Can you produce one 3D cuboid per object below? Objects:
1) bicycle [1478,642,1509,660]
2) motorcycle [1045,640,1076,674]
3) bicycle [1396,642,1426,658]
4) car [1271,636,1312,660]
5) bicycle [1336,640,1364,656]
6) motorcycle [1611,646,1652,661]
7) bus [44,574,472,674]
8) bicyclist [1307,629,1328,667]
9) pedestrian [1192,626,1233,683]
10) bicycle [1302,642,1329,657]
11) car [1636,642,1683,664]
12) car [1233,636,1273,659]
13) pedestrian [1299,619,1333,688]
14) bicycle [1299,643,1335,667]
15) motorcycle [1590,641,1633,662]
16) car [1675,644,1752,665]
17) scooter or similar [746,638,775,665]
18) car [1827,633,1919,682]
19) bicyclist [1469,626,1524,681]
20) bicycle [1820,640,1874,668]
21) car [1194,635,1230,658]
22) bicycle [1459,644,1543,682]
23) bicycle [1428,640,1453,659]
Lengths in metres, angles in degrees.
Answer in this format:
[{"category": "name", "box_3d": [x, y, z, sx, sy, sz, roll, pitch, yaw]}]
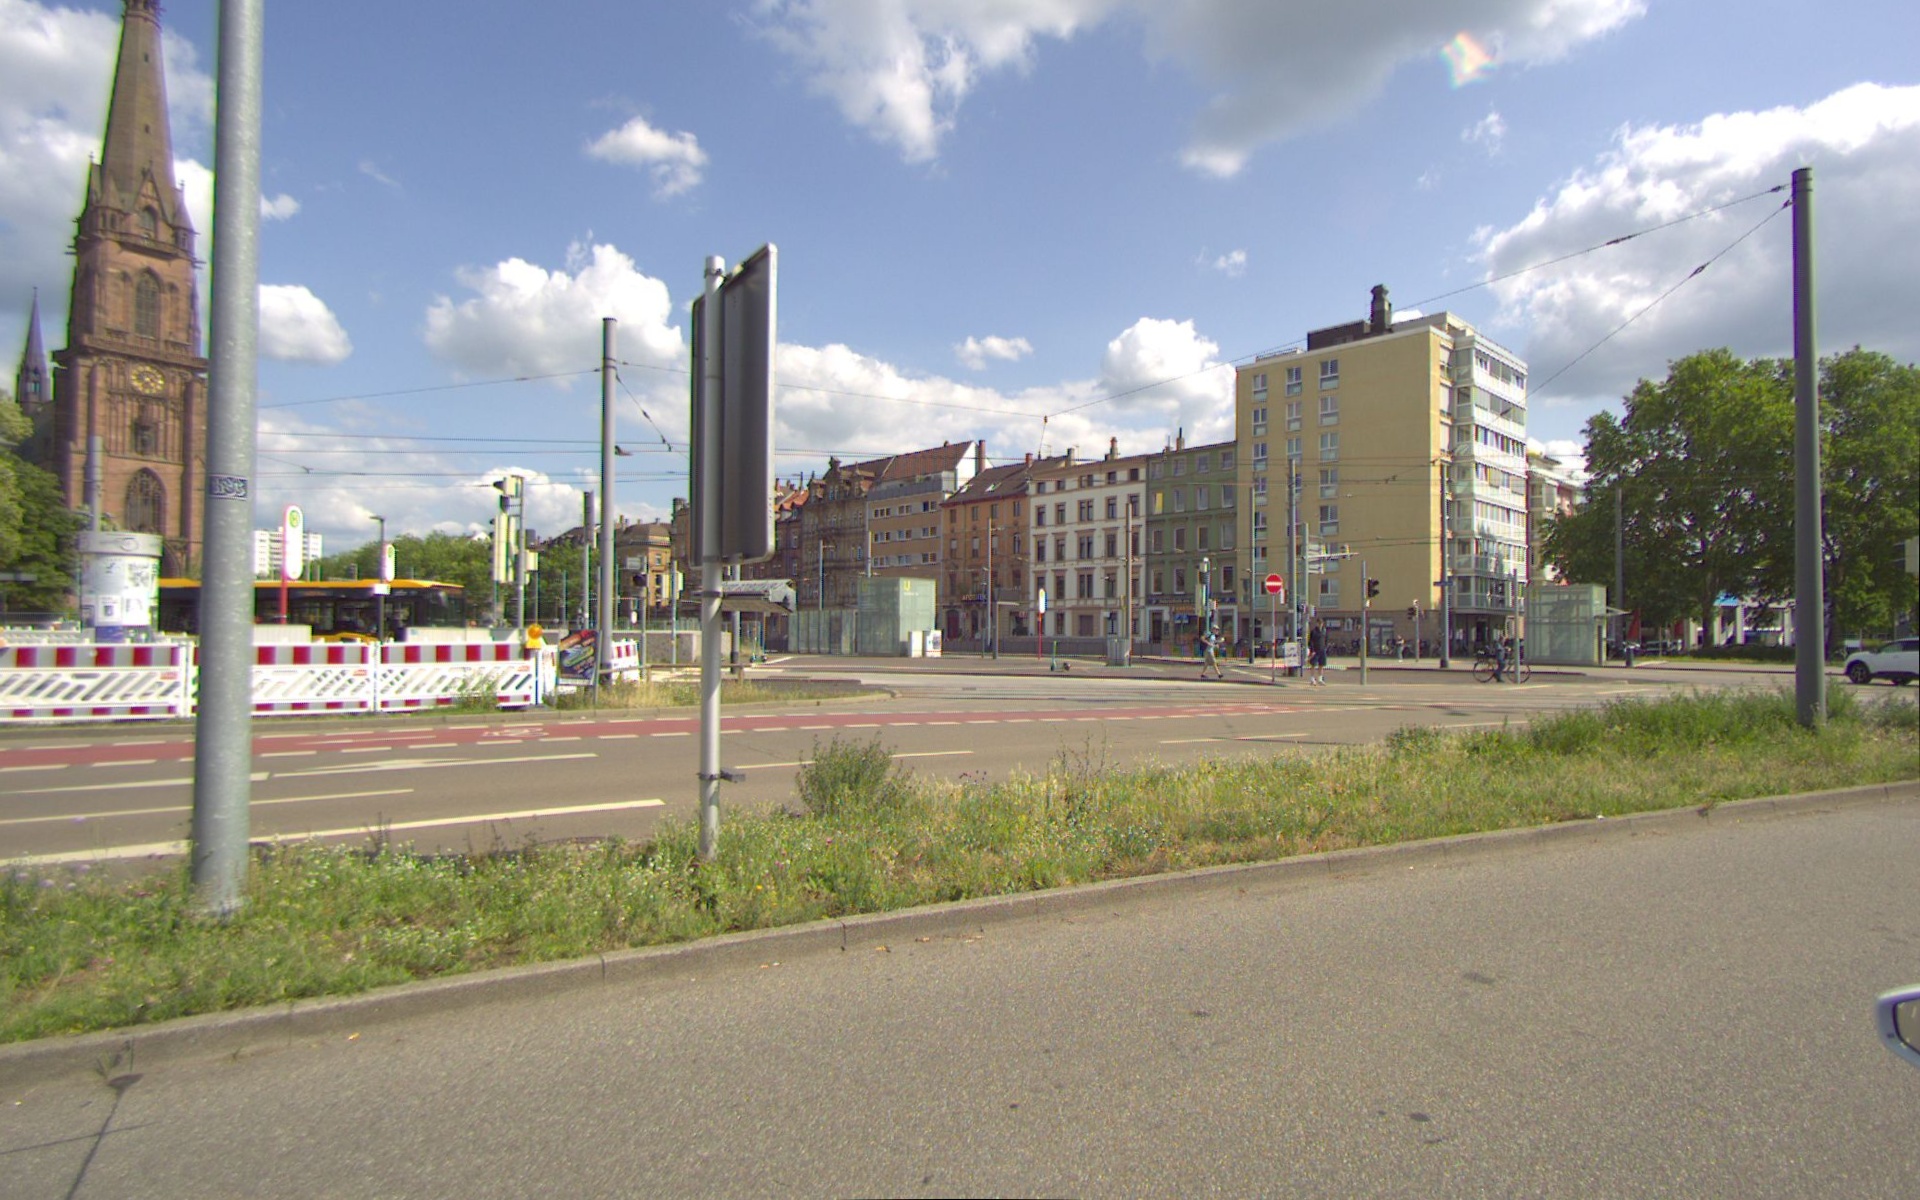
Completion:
[{"category": "bicycle", "box_3d": [36.575, 3.476, 68.847, 1.784, 1.162, 0.792, -1, -2, 42]}, {"category": "motorcycle", "box_3d": [3.847, 2.178, 38.555, 0.478, 1.253, 1.437, 2, -3, -28]}, {"category": "bicycle", "box_3d": [31.622, 3.505, 70.448, 1.783, 1.118, 0.793, -1, -2, 41]}, {"category": "car", "box_3d": [22.706, 3.310, 68.929, 1.861, 1.516, 3.903, 1, -3, 5]}, {"category": "bicycle", "box_3d": [28.628, 3.532, 73.754, 1.783, 1.118, 0.793, -1, -2, 41]}, {"category": "motorcycle", "box_3d": [43.477, 3.478, 65.054, 2.003, 0.929, 0.812, -1, -2, 7]}, {"category": "bus", "box_3d": [-23.726, 0.821, 34.370, 12.586, 3.177, 2.835, 0, -2, 0]}, {"category": "bicyclist", "box_3d": [17.643, 2.361, 49.559, 0.768, 1.821, 0.707, 2, 0, 41]}, {"category": "pedestrian", "box_3d": [8.302, 1.787, 33.090, 1.015, 1.821, 0.762, 2, 0, -27]}, {"category": "bicycle", "box_3d": [26.753, 3.707, 75.604, 1.783, 1.118, 0.793, -1, -2, 41]}, {"category": "car", "box_3d": [48.441, 3.667, 69.536, 3.971, 1.431, 1.888, 4, -4, -42]}, {"category": "car", "box_3d": [20.345, 3.291, 69.884, 1.862, 1.516, 3.903, 1, -3, 4]}, {"category": "pedestrian", "box_3d": [10.223, 1.531, 28.870, 0.753, 1.928, 0.825, 2, 0, 29]}, {"category": "bicycle", "box_3d": [17.599, 2.695, 49.526, 0.877, 1.153, 2.346, 1, -1, 41]}, {"category": "motorcycle", "box_3d": [39.922, 3.128, 61.622, 0.890, 1.254, 2.214, 0, -2, -12]}, {"category": "car", "box_3d": [52.050, 3.746, 69.441, 1.615, 1.344, 3.966, 3, -4, -32]}, {"category": "scooter or similar", "box_3d": [-8.882, 2.267, 44.749, 0.836, 1.120, 1.646, 2, -1, 3]}, {"category": "car", "box_3d": [32.887, 1.979, 34.617, 2.006, 1.599, 4.539, 1, -1, -1]}, {"category": "bicyclist", "box_3d": [17.787, 1.769, 33.330, 0.984, 1.753, 1.290, 2, -3, -32]}, {"category": "bicycle", "box_3d": [47.574, 2.888, 53.893, 0.807, 1.433, 2.146, 1, -1, -45]}, {"category": "car", "box_3d": [18.143, 3.364, 72.526, 1.862, 1.516, 3.903, 1, -3, 4]}, {"category": "bicycle", "box_3d": [17.860, 2.071, 33.208, 0.984, 1.204, 2.281, 2, -3, -32]}, {"category": "bicycle", "box_3d": [33.724, 3.479, 70.524, 1.791, 1.275, 0.789, 2, -2, -34]}]
